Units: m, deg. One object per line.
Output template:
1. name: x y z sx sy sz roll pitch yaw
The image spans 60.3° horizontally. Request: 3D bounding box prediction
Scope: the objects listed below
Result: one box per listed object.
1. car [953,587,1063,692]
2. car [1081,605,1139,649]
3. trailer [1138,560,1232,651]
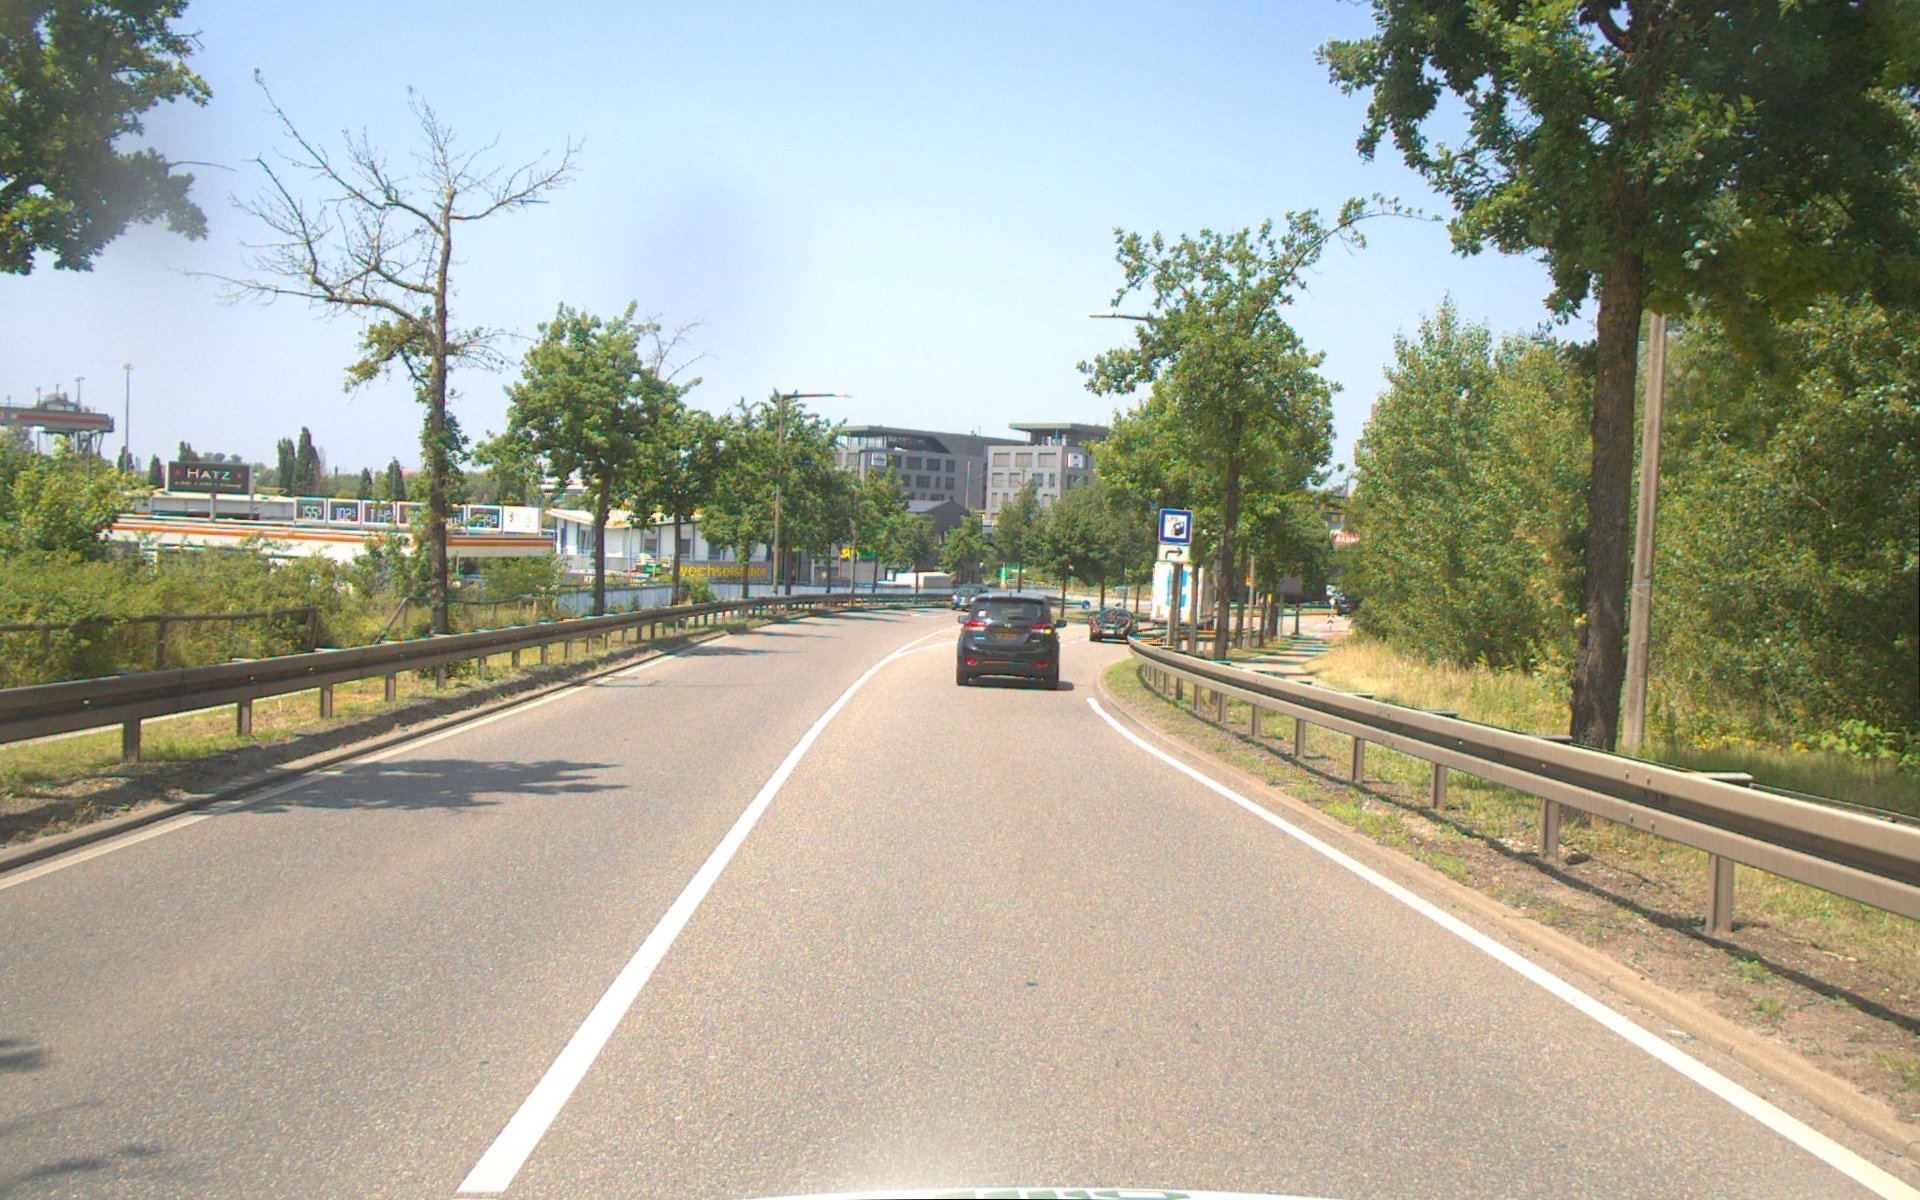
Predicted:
1. car: 0.870 0.633 29.279 1.730 1.627 4.079 3 0 2
2. car: 6.194 1.076 67.936 1.915 1.662 4.284 2 0 11
3. trailer: 12.590 0.126 91.158 3.013 4.444 14.786 3 2 15
